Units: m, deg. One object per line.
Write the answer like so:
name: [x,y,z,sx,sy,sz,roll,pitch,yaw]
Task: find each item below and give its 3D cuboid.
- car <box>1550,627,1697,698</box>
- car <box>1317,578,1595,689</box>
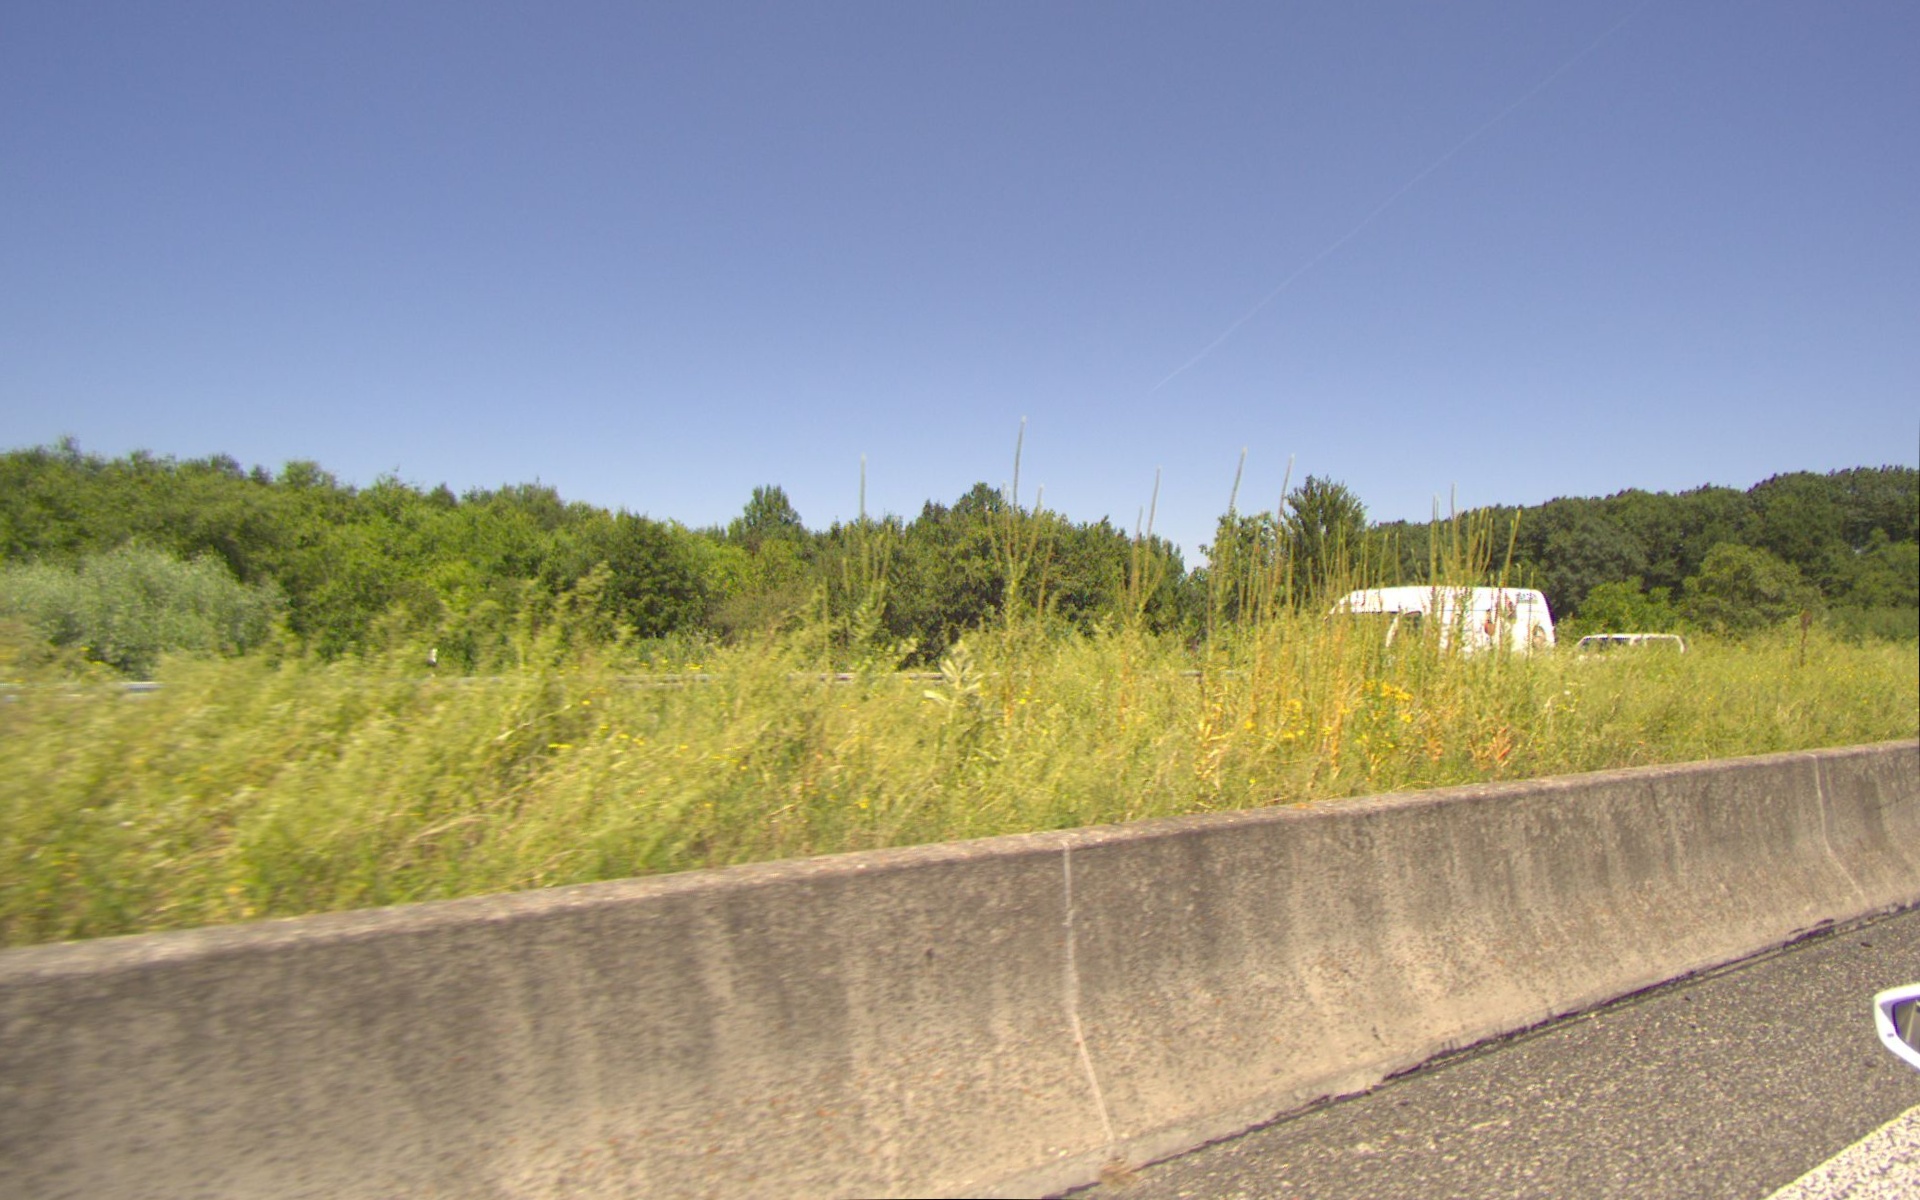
car: [21.071,1.937,31.840,5.016,2.040,1.873,2,-1,-31]
car: [10.587,0.681,21.214,6.480,2.041,1.983,2,1,-31]
